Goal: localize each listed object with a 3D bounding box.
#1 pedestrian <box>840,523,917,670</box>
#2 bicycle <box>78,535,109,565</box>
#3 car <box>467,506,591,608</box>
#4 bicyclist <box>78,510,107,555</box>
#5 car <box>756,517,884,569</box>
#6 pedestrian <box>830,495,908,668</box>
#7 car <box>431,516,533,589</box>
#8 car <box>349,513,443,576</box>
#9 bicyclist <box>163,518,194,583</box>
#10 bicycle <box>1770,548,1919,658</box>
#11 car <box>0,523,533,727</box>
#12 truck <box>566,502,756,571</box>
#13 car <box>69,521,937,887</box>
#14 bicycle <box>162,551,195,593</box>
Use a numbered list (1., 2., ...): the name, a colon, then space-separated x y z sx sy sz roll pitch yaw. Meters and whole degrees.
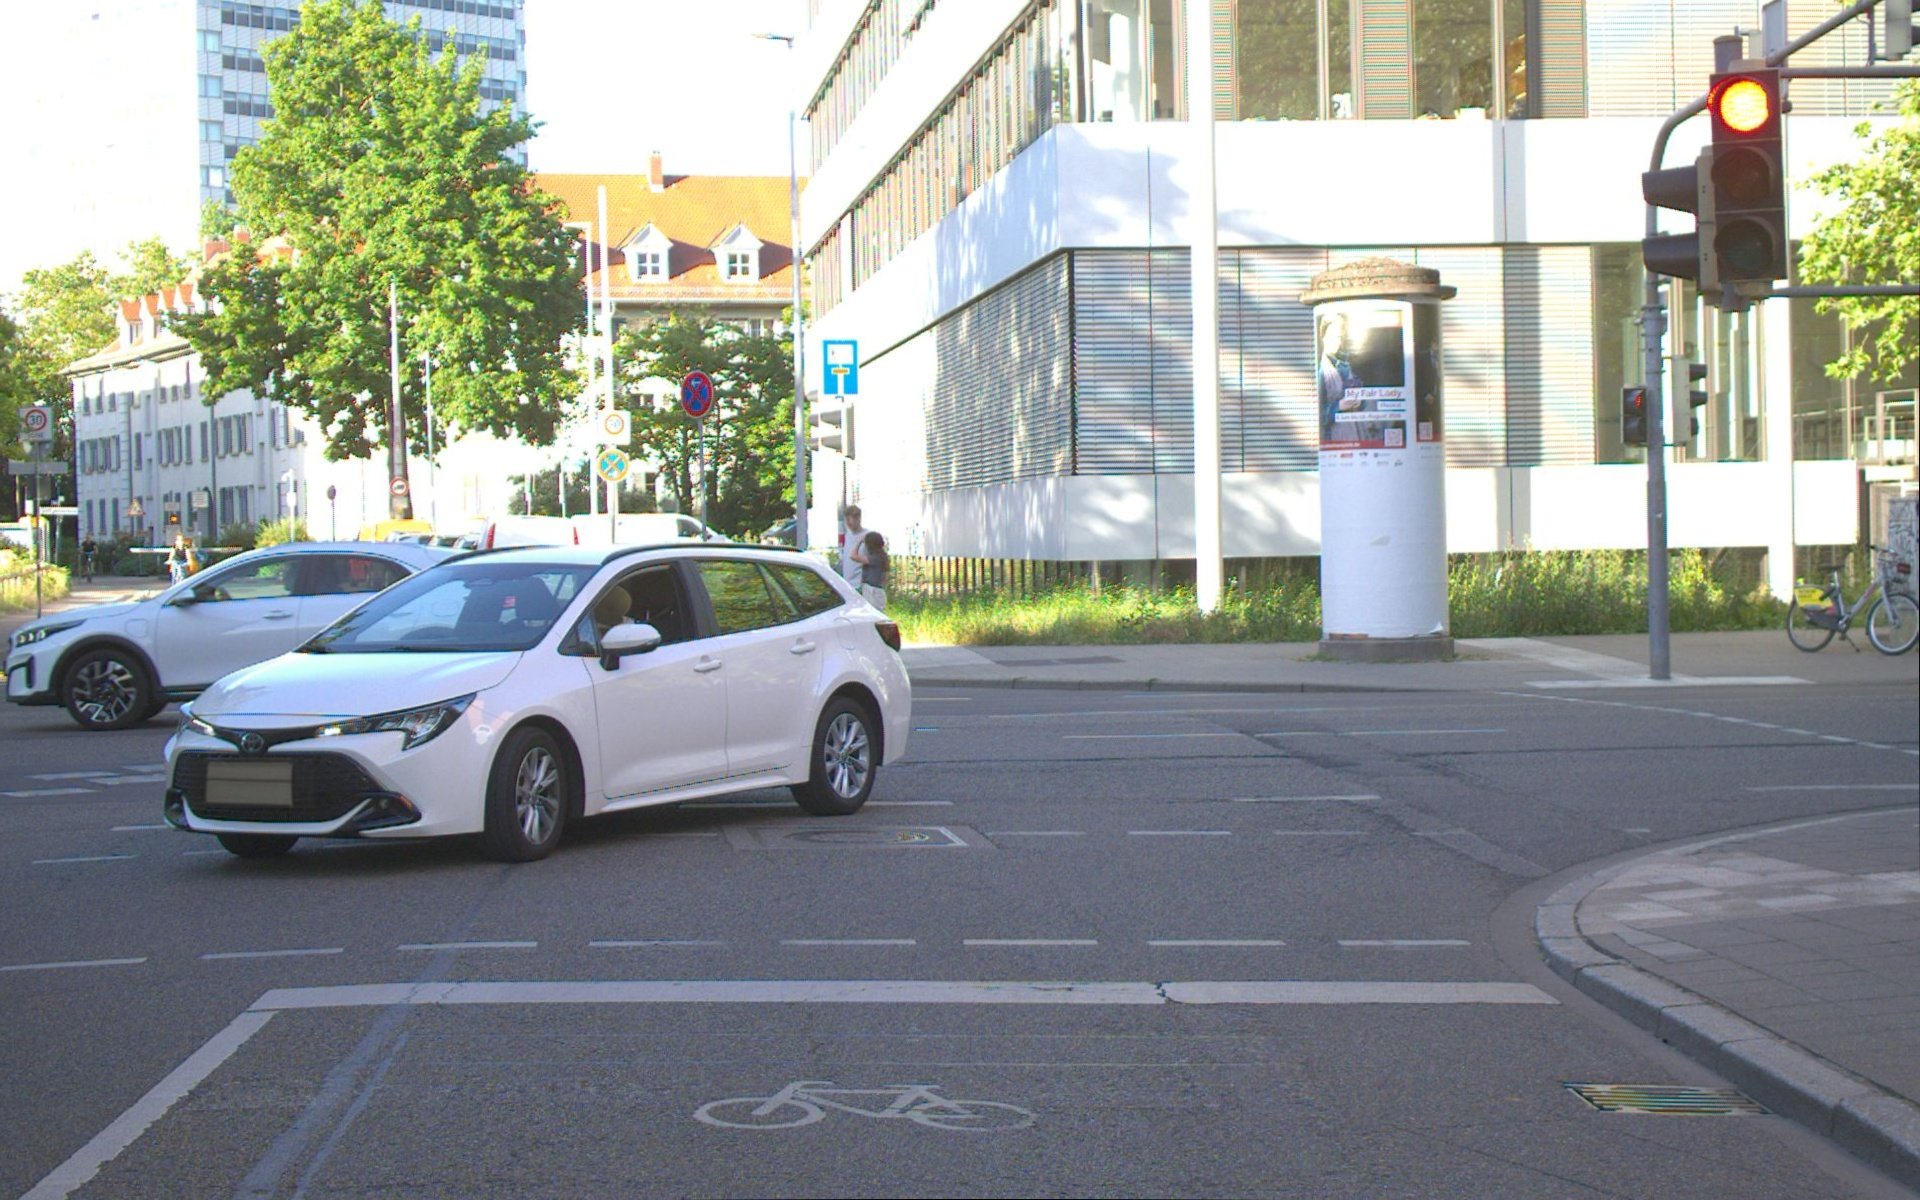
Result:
1. pedestrian: -0.885 -0.041 37.215 0.559 1.535 0.677 -5 2 -18
2. bicycle: -30.205 -1.735 119.835 0.865 1.006 2.415 -4 1 -11
3. car: -8.163 -0.845 64.855 2.084 1.789 4.417 -1 2 -10
4. bicyclist: -30.237 -2.342 119.838 0.865 1.510 1.019 -4 1 -11
5. car: -4.247 -1.724 104.250 3.554 1.541 1.559 -1 1 -19
6. pedestrian: -1.001 -0.212 37.819 0.560 1.844 0.677 -3 2 16
7. car: -10.916 -1.110 78.325 1.888 1.550 4.417 -1 2 -13
8. car: -15.694 -1.568 95.507 1.888 1.650 4.417 -1 2 -19
9. bicyclist: -18.550 -1.174 81.599 0.615 1.527 0.903 -2 1 -9
10. bicycle: 9.314 0.017 36.049 0.507 1.045 1.687 -4 5 -35
11. car: -5.745 0.175 28.645 4.319 1.570 1.824 -1 1 -7
12. truck: -8.962 -1.908 103.062 5.336 2.007 2.001 -1 1 -19
13. car: -2.087 0.407 17.148 1.890 1.471 4.538 -1 2 30
14. bicycle: -18.539 -0.669 81.596 0.615 0.966 1.842 -2 1 -9
